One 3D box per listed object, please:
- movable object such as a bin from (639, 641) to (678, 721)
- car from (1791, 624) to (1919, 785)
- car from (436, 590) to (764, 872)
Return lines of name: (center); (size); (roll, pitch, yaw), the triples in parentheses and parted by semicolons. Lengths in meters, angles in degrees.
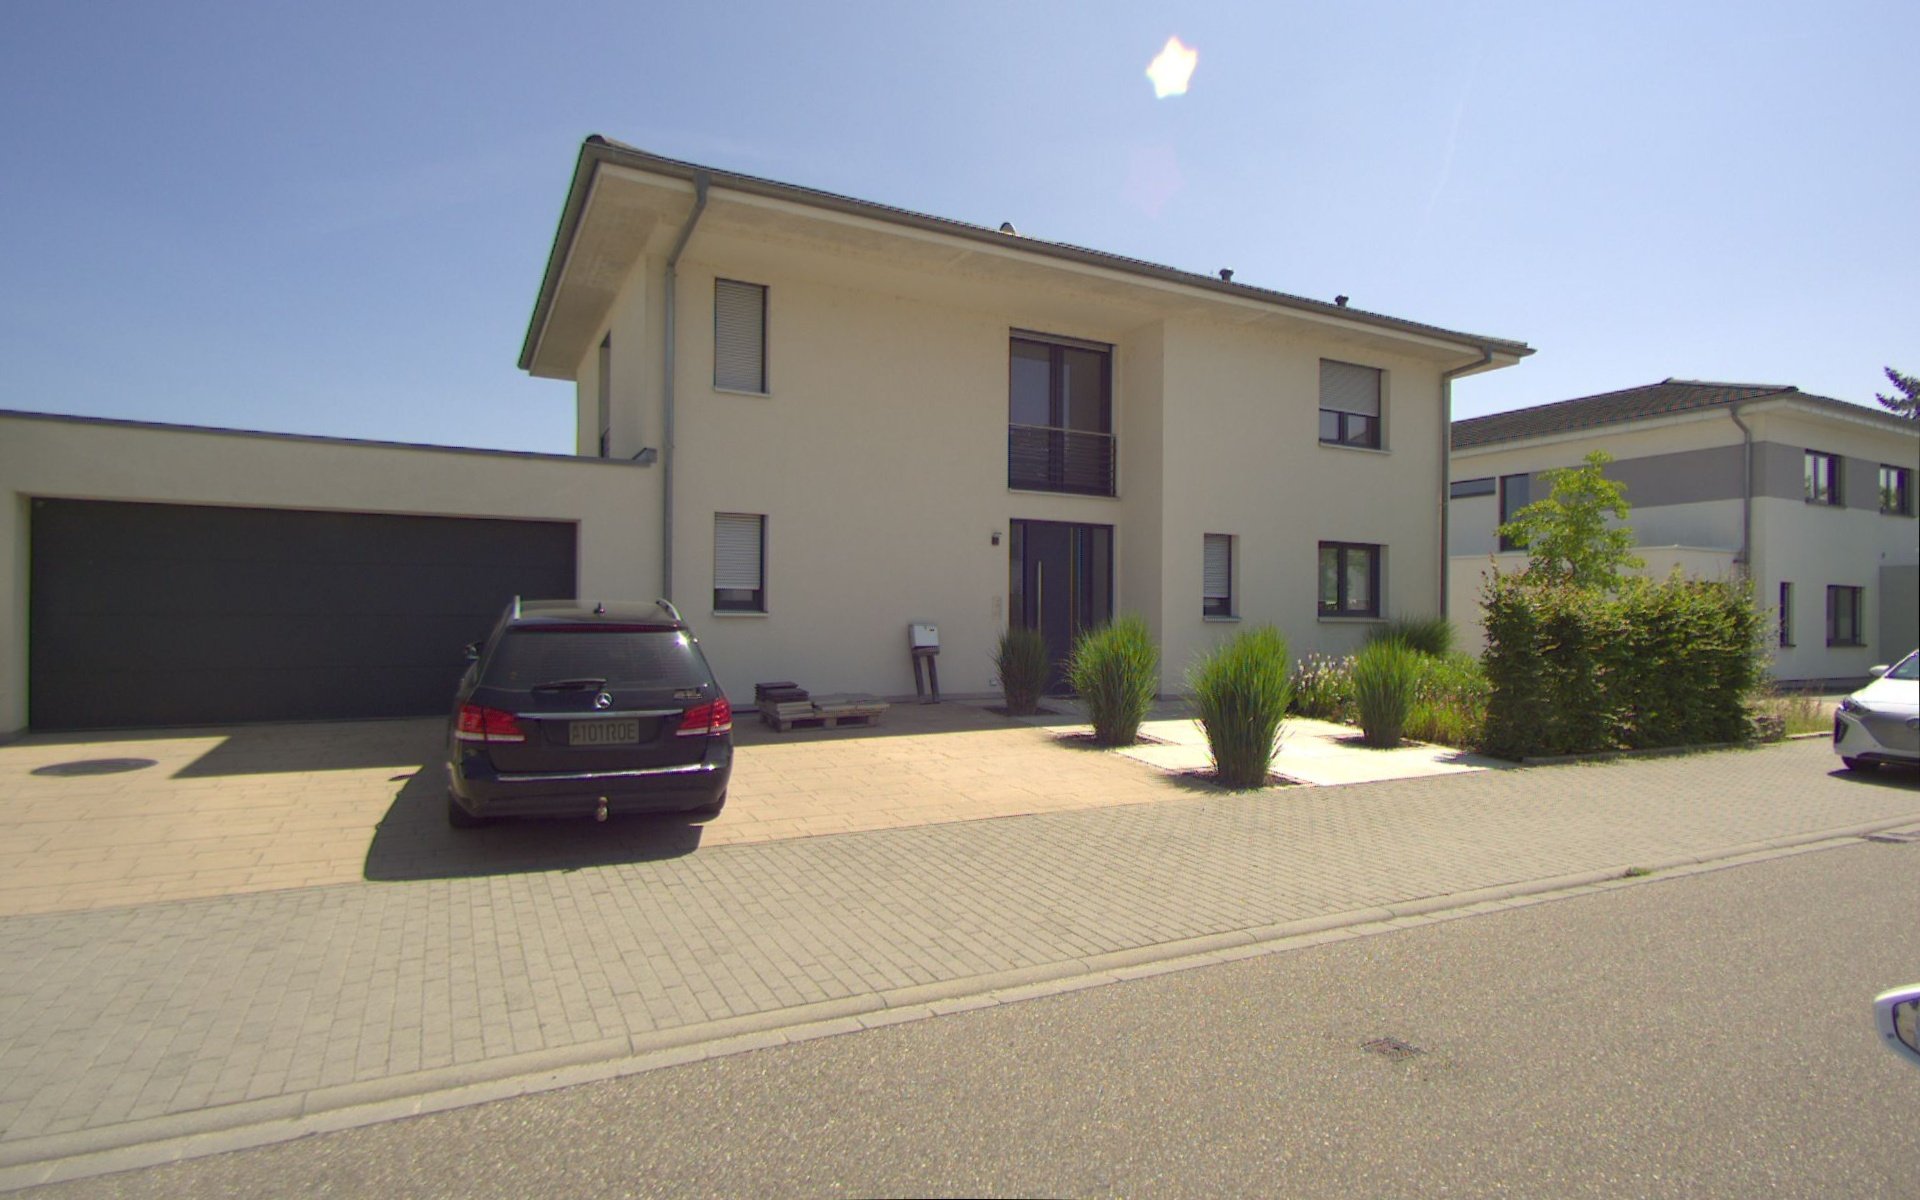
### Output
movable object such as a bin: (-3.462, 0.927, 11.544); (0.390, 0.895, 0.183); (0, 0, -34)
car: (11.083, 1.057, 10.713); (4.328, 1.508, 1.845); (1, 0, -27)
car: (-2.946, 0.730, 8.022); (1.824, 1.493, 4.417); (1, 1, -23)
